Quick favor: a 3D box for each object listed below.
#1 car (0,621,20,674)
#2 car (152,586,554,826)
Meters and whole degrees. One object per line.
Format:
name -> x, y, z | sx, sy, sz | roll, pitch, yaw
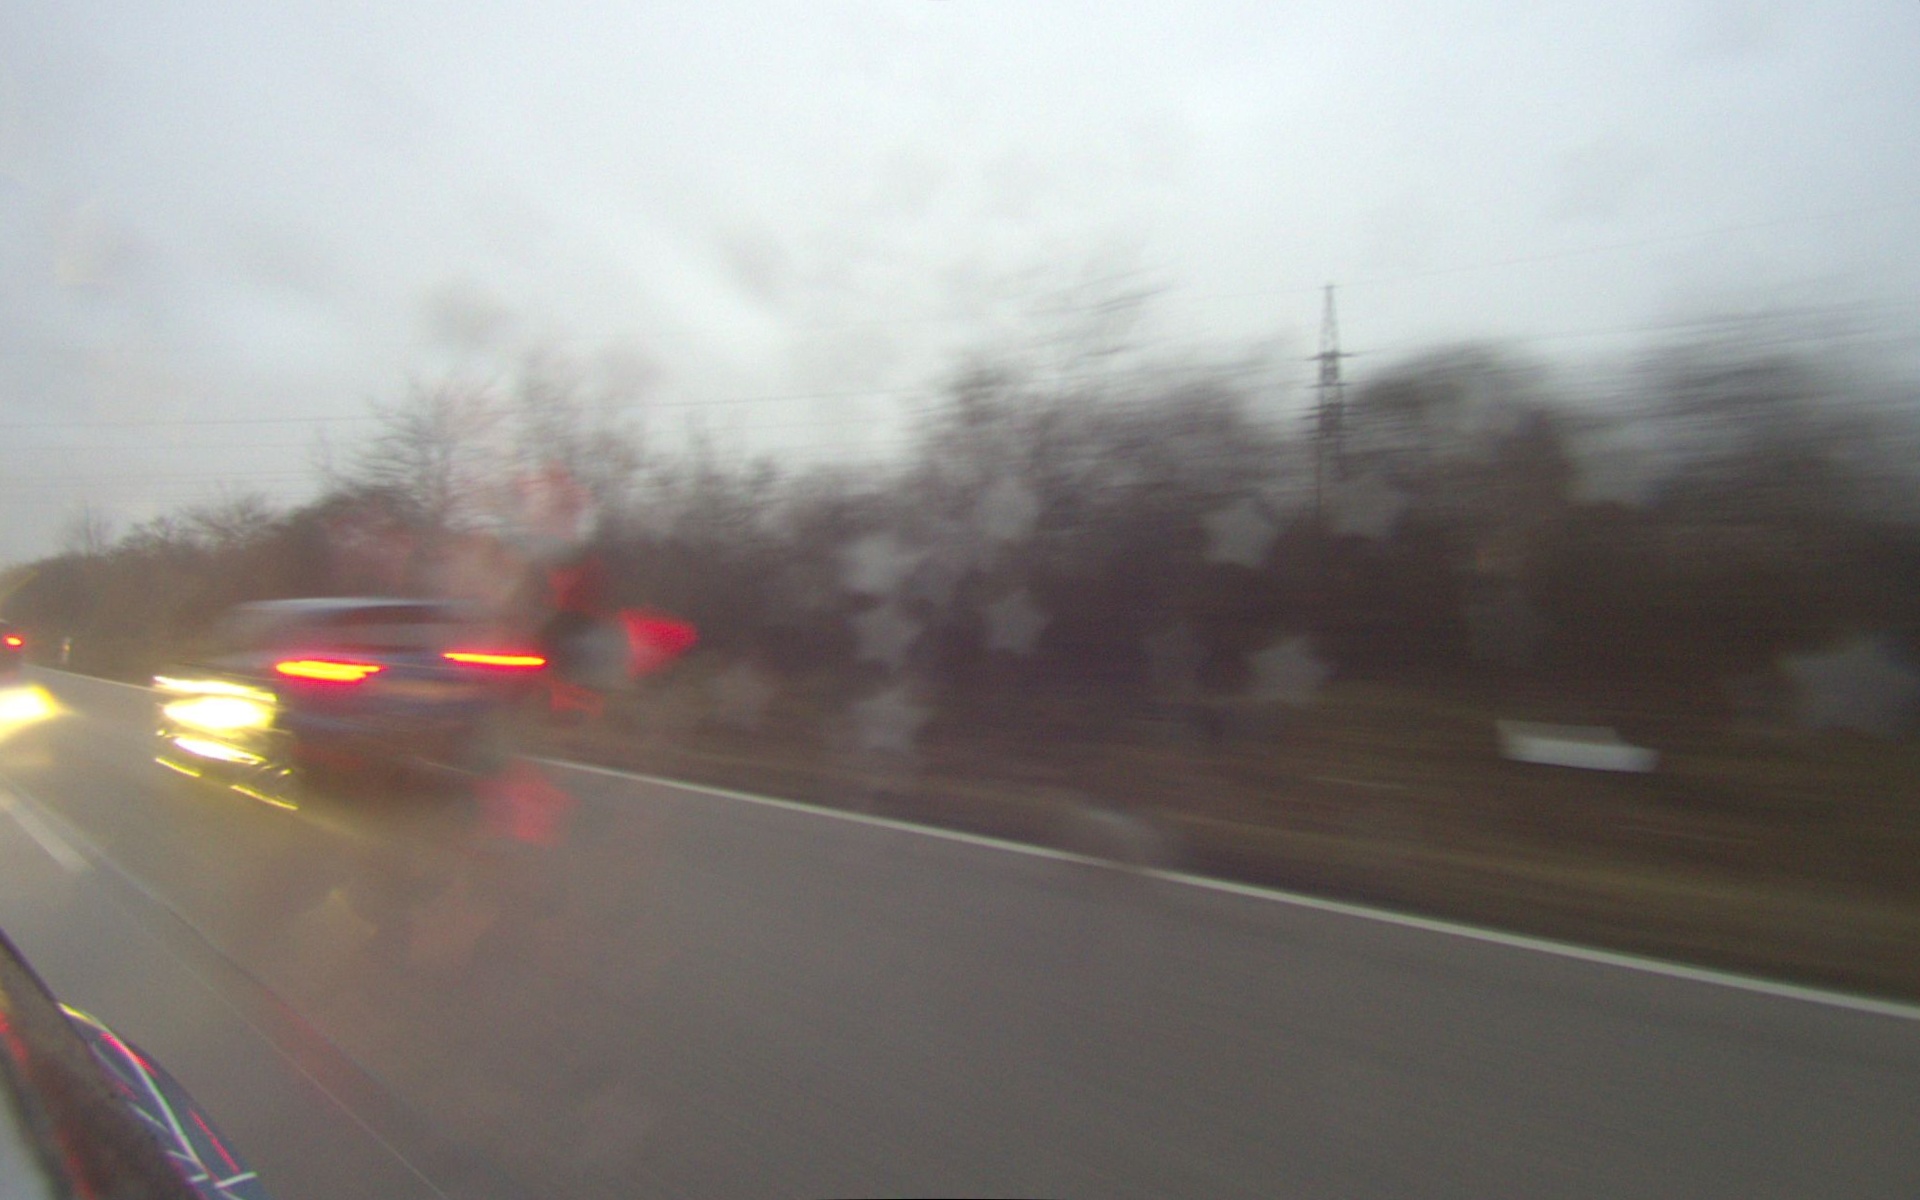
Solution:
car -> -31.285, 1.503, 32.060 | 4.690, 1.608, 1.761 | -1, -1, 41
car -> -5.590, 0.770, 9.111 | 4.101, 1.667, 1.903 | -1, -1, 40
